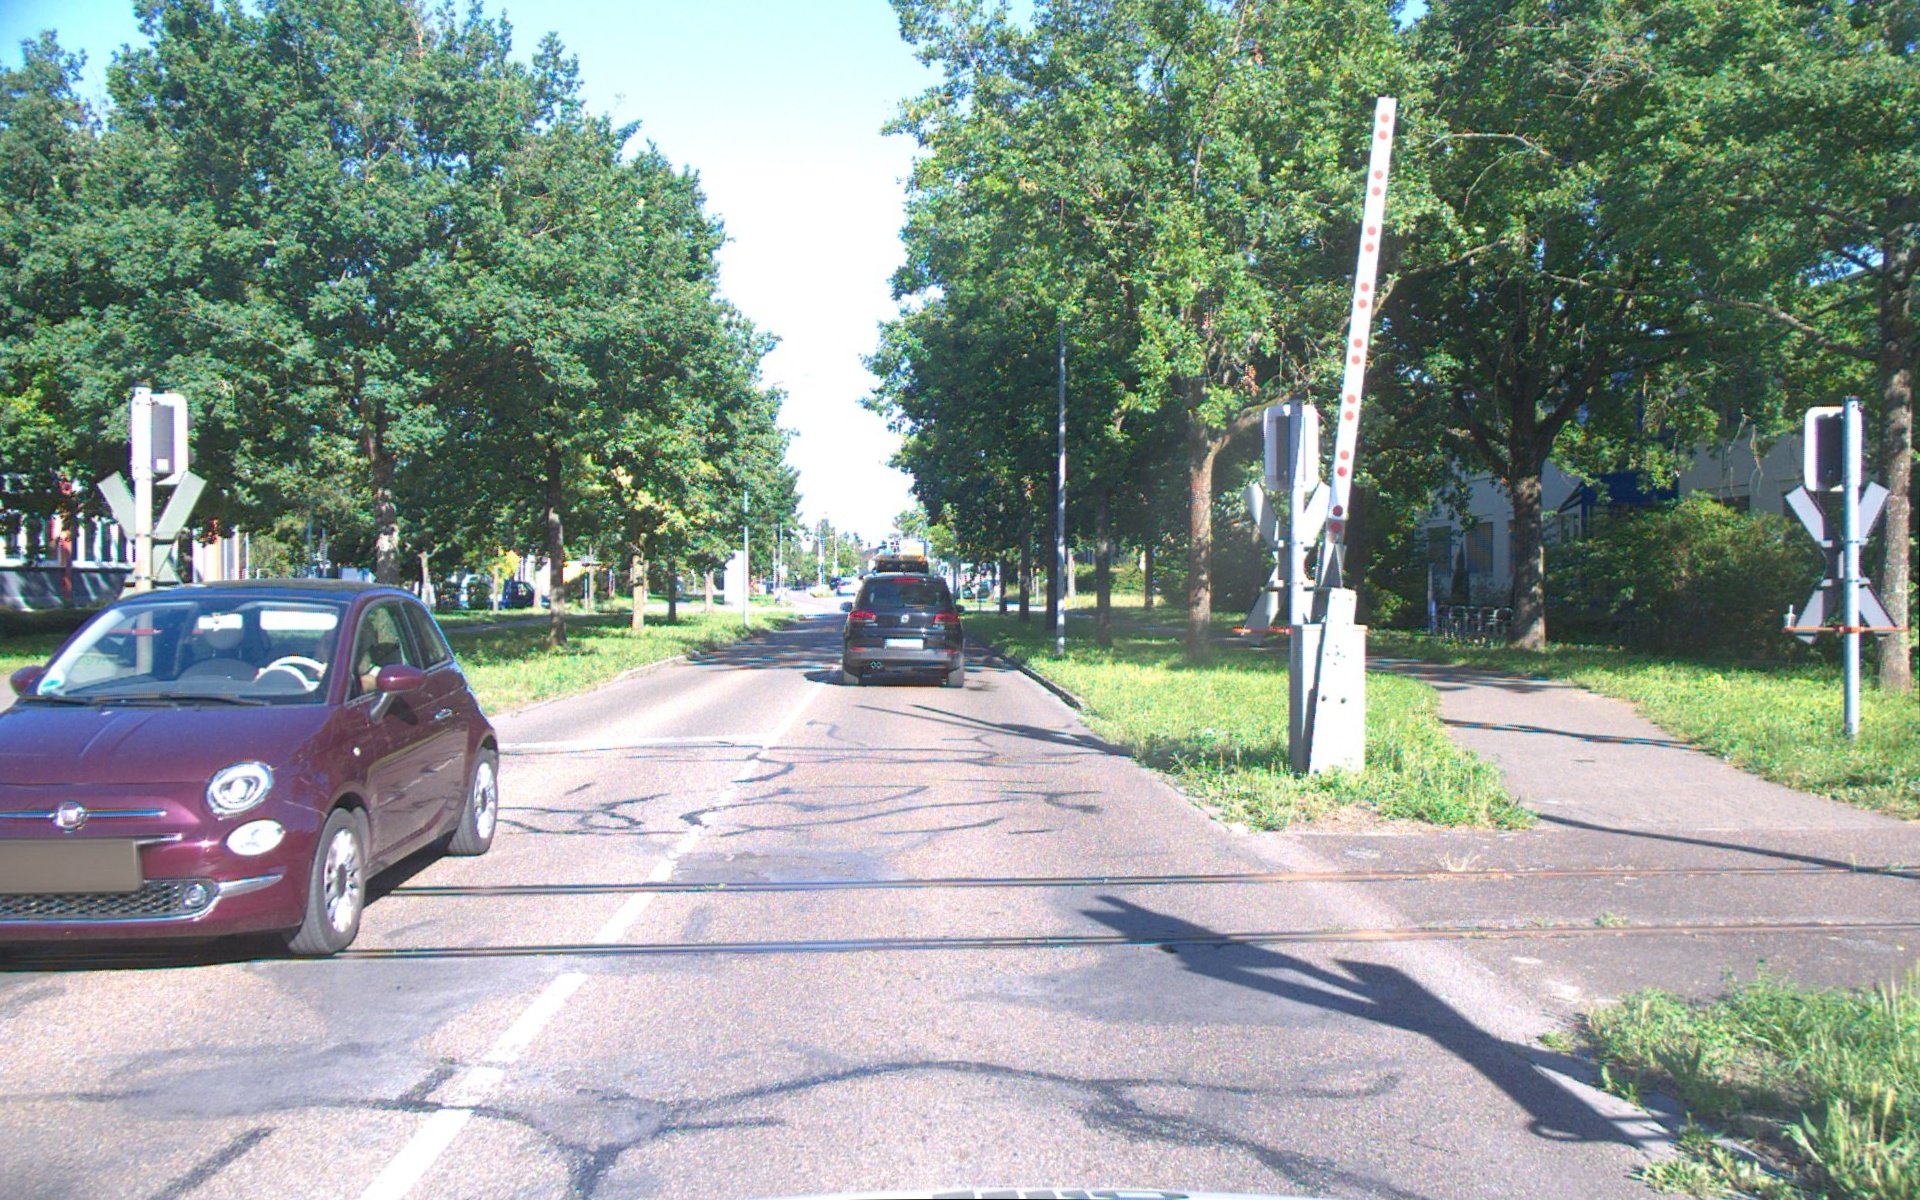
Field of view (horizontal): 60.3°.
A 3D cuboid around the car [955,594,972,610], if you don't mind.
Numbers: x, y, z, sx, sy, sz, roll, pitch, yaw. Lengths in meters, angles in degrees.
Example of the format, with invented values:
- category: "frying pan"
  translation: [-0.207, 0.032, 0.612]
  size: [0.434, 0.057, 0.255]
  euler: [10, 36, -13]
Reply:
- category: "car"
  translation: [0.321, 0.154, 154.860]
  size: [1.423, 1.430, 2.855]
  euler: [2, 1, -1]

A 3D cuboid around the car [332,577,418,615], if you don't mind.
- category: "car"
  translation: [-27.591, -0.199, 78.081]
  size: [3.288, 1.671, 2.001]
  euler: [2, 0, 3]

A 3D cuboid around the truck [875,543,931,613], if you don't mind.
- category: "truck"
  translation: [-2.762, -1.102, 82.523]
  size: [2.460, 3.300, 8.152]
  euler: [0, 1, 0]

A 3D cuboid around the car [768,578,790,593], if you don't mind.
- category: "car"
  translation: [-18.395, -1.442, 168.106]
  size: [1.953, 1.481, 3.998]
  euler: [0, 1, -2]

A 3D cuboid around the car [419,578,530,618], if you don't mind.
- category: "car"
  translation: [-26.753, -0.115, 91.305]
  size: [5.688, 2.049, 1.994]
  euler: [1, 0, -12]

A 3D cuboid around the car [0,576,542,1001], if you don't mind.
- category: "car"
  translation: [-3.257, 0.672, 8.023]
  size: [1.534, 1.531, 3.999]
  euler: [-1, 0, -2]

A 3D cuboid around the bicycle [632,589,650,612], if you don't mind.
- category: "bicycle"
  translation: [-19.096, -0.002, 99.048]
  size: [0.703, 1.344, 1.991]
  euler: [1, 0, -2]

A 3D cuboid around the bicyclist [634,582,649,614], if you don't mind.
- category: "bicyclist"
  translation: [-19.081, -0.122, 99.150]
  size: [0.672, 1.863, 0.934]
  euler: [1, 0, -3]

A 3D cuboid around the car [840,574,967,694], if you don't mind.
- category: "car"
  translation: [-0.795, 0.460, 25.530]
  size: [1.745, 1.662, 4.000]
  euler: [2, 1, 0]

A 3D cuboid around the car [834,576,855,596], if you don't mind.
- category: "car"
  translation: [-12.142, -1.447, 173.176]
  size: [1.956, 2.049, 3.994]
  euler: [1, 1, -7]
